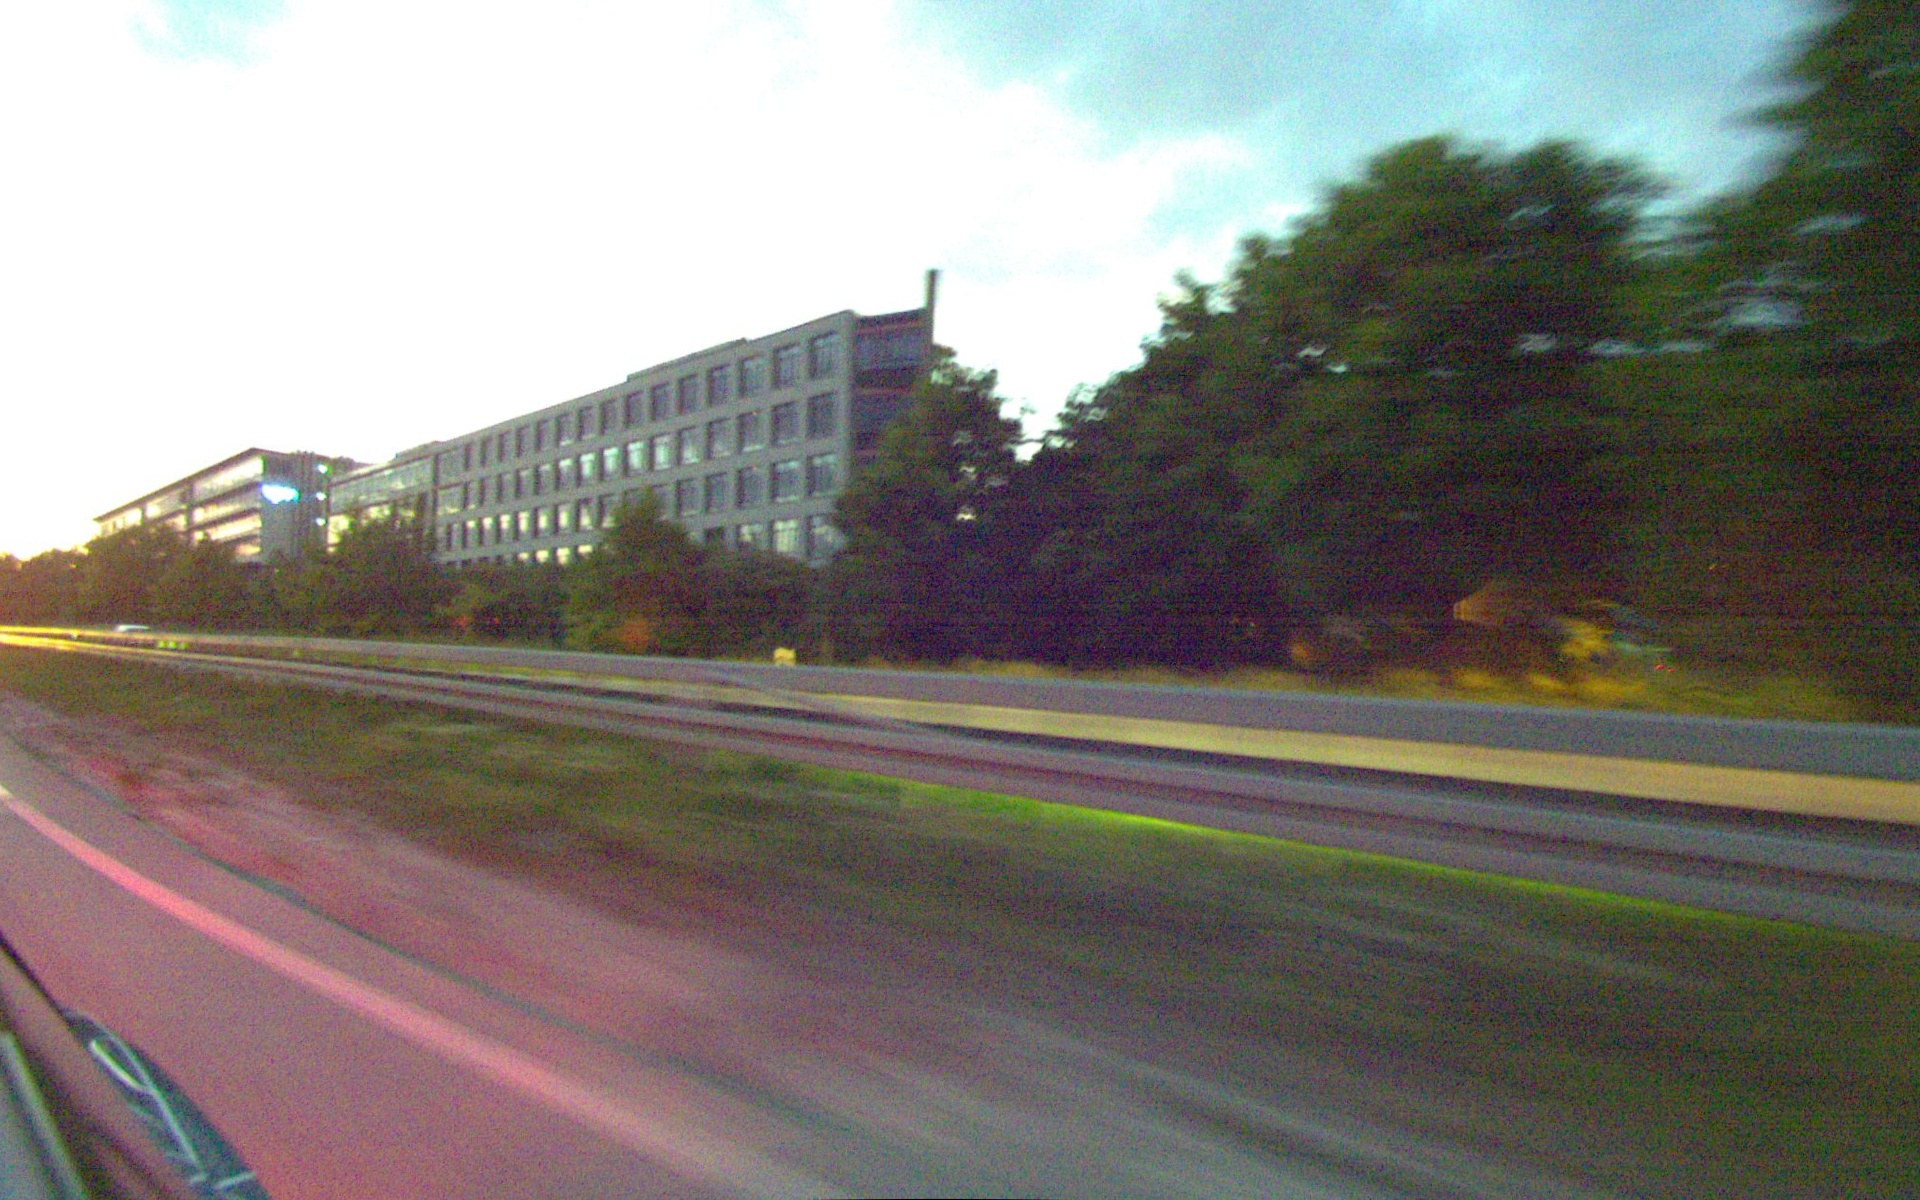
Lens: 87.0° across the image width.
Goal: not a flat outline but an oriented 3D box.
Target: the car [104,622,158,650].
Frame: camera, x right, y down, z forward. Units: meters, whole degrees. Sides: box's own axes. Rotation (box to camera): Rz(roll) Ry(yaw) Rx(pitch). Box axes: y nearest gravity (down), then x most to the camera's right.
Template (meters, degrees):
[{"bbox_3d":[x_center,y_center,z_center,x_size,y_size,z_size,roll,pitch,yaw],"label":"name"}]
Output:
[{"bbox_3d":[-50.673,2.192,61.820,4.658,1.654,1.752,-1,-3,41],"label":"car"}]
